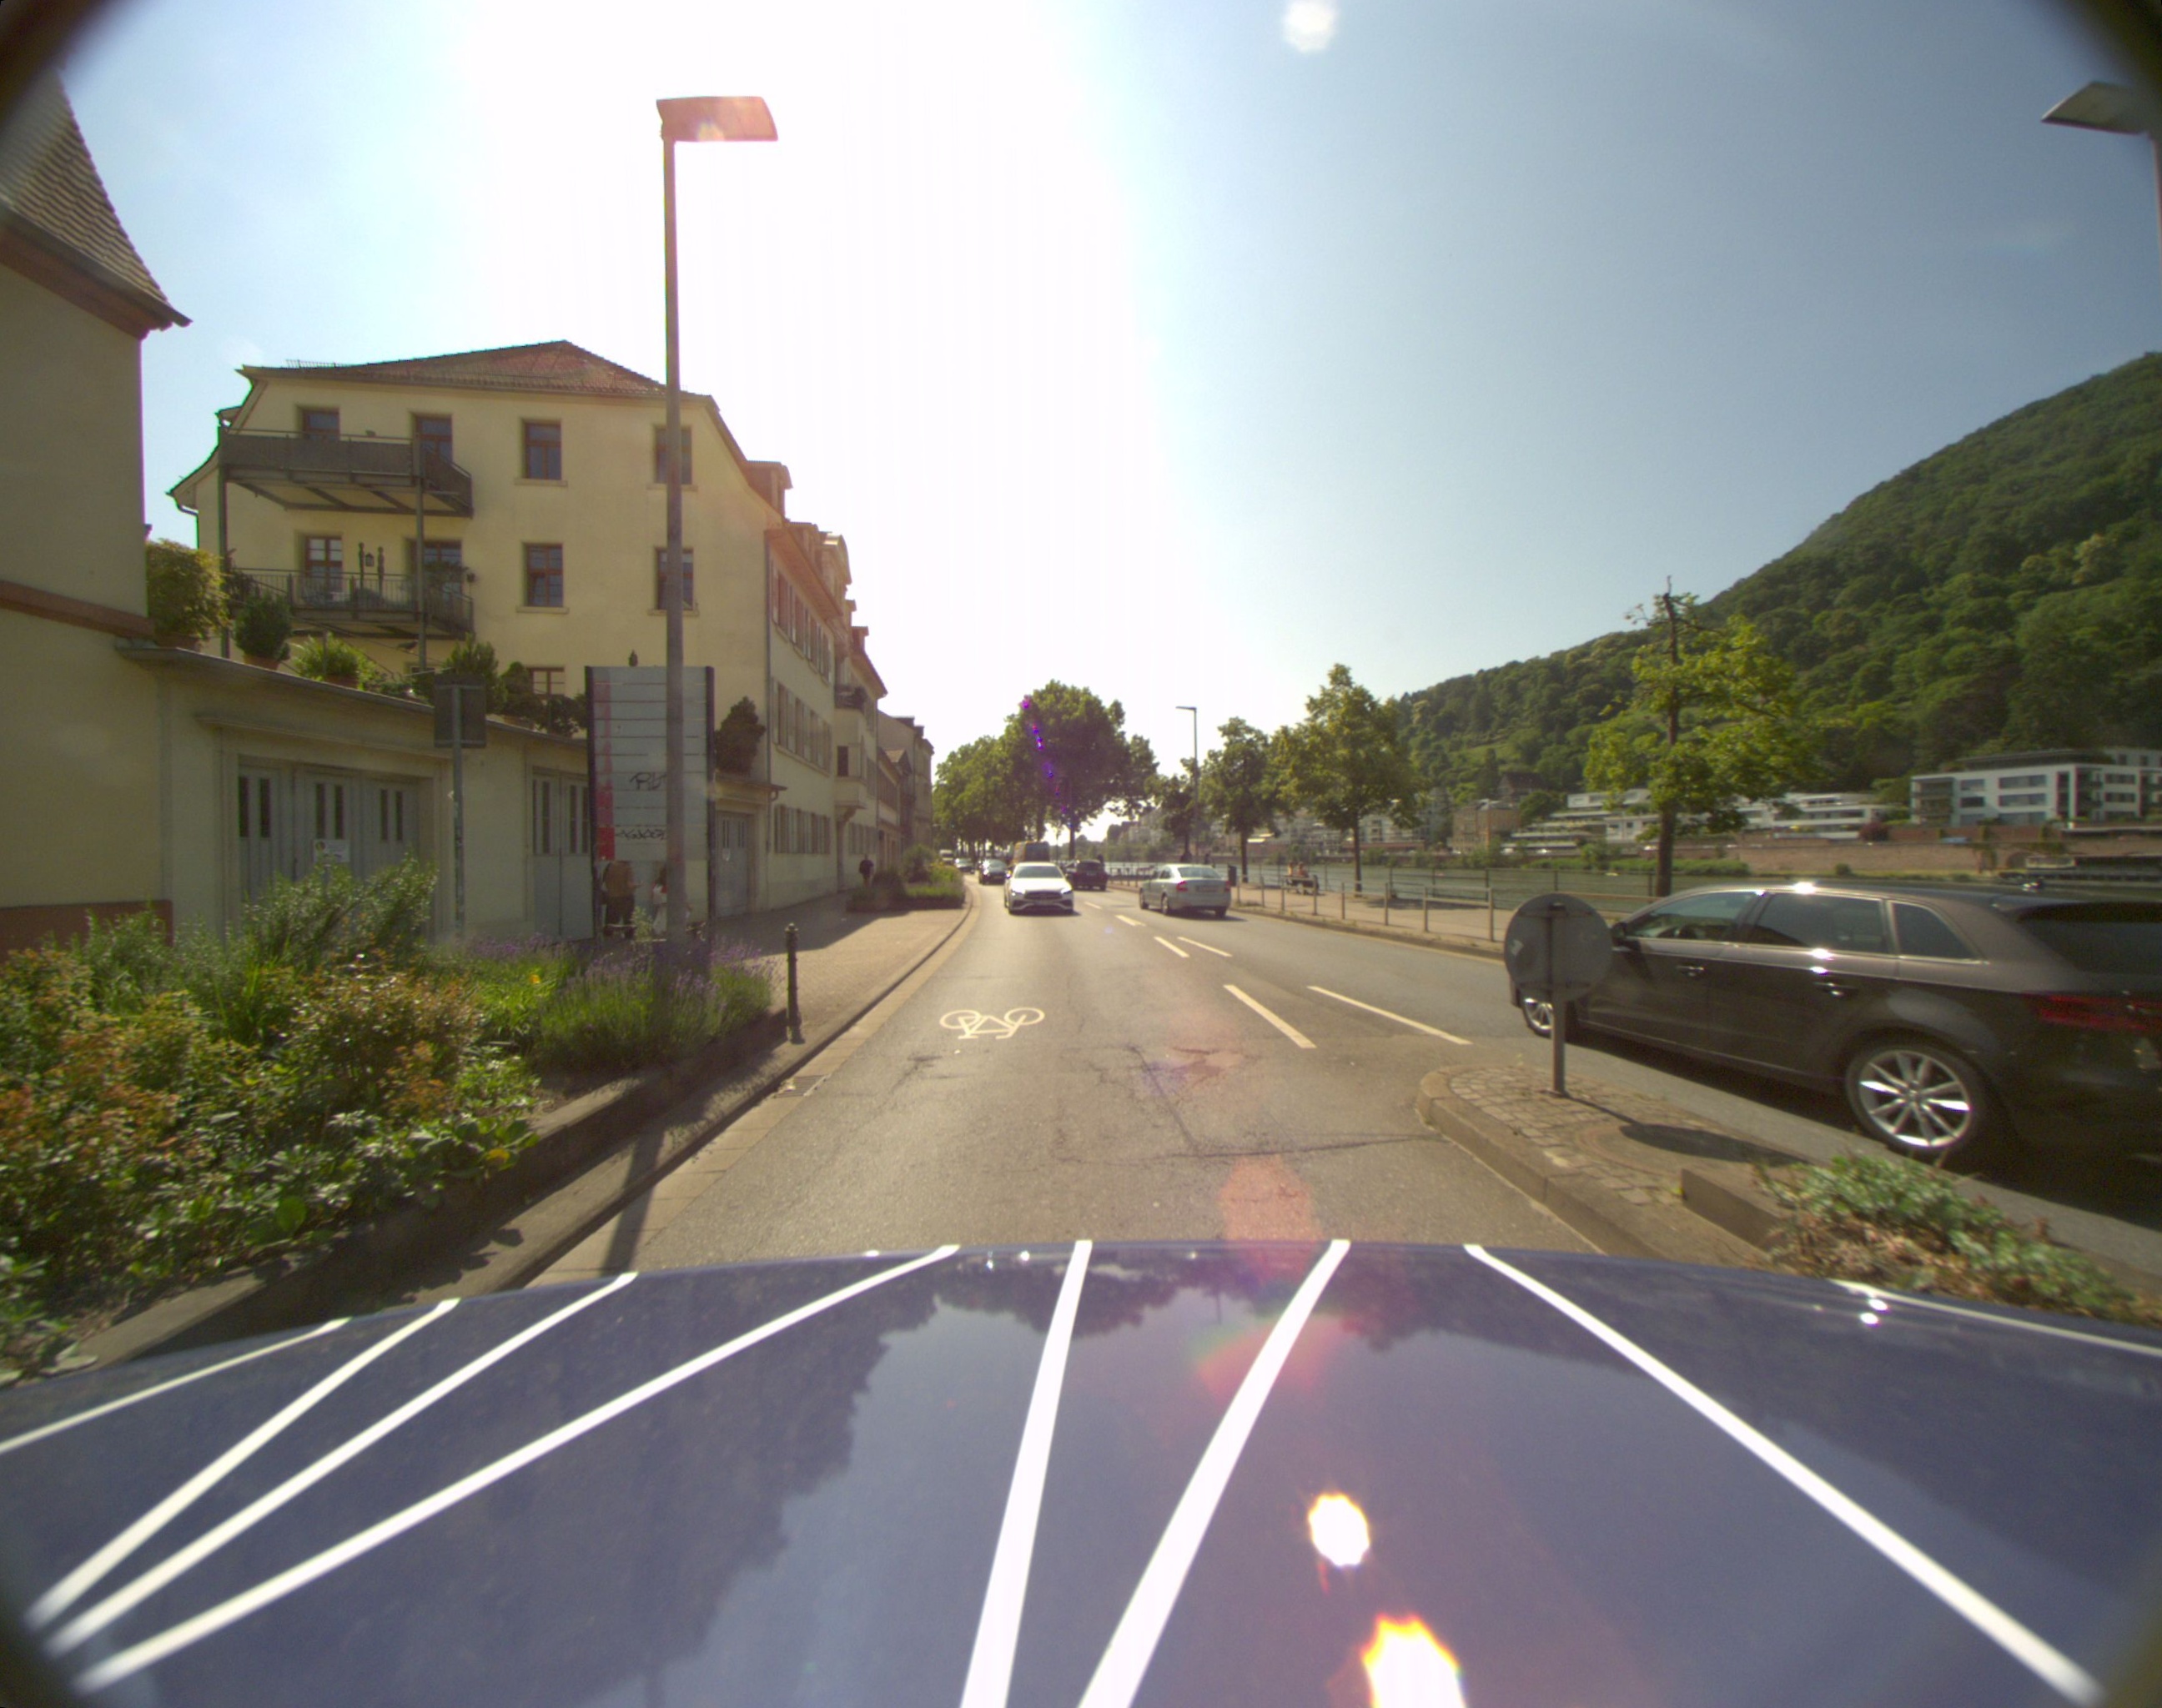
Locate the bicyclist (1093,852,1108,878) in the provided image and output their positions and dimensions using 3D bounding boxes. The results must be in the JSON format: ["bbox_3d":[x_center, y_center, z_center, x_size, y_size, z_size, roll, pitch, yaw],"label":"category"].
[{"bbox_3d":[1.239,0.682,48.976,0.743,1.658,1.088,0,0,-10],"label":"bicyclist"}]

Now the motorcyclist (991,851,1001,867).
[{"bbox_3d":[-8.632,0.516,76.969,0.882,1.574,1.023,0,1,-17],"label":"motorcyclist"}]

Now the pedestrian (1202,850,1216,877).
[{"bbox_3d":[7.816,0.584,46.363,0.695,1.606,0.663,0,1,-5],"label":"pedestrian"}]

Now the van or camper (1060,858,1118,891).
[{"bbox_3d":[0.298,0.953,37.335,2.000,1.446,4.678,1,0,-10],"label":"van or camper"}]

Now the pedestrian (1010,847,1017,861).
[{"bbox_3d":[-8.198,0.028,91.771,0.655,1.703,0.792,1,0,-20],"label":"pedestrian"}]

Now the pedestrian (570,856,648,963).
[{"bbox_3d":[-7.735,0.876,12.500,0.740,1.689,0.933,0,1,-4],"label":"pedestrian"}]

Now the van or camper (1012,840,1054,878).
[{"bbox_3d":[-3.576,0.293,55.300,2.095,2.542,7.084,-1,1,-11],"label":"van or camper"}]

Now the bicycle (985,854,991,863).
[{"bbox_3d":[-11.912,0.566,97.150,0.743,1.071,1.951,-2,0,-8],"label":"bicycle"}]

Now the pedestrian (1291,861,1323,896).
[{"bbox_3d":[8.518,0.923,28.637,0.939,1.273,0.849,0,1,-4],"label":"pedestrian"}]

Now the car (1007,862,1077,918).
[{"bbox_3d":[-1.286,1.006,22.969,1.876,1.416,4.742,1,0,-6],"label":"car"}]

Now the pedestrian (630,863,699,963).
[{"bbox_3d":[-6.864,0.950,12.558,0.764,1.586,0.695,-1,1,-4],"label":"pedestrian"}]

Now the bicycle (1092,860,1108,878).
[{"bbox_3d":[1.211,0.949,49.150,0.714,1.162,1.894,-1,0,-10],"label":"bicycle"}]

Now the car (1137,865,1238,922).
[{"bbox_3d":[2.954,1.073,22.041,1.819,1.420,4.308,1,-1,-7],"label":"car"}]

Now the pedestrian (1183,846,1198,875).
[{"bbox_3d":[7.413,0.436,51.428,0.696,1.934,0.885,0,1,-13],"label":"pedestrian"}]

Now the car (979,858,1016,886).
[{"bbox_3d":[-4.448,0.927,41.067,1.876,1.415,4.742,-1,0,-5],"label":"car"}]

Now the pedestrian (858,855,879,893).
[{"bbox_3d":[-9.791,0.913,35.056,0.764,1.703,0.695,3,1,-9],"label":"pedestrian"}]

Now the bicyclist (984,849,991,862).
[{"bbox_3d":[-11.948,0.185,97.416,0.769,1.522,1.024,-2,-1,-10],"label":"bicyclist"}]

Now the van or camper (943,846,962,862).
[{"bbox_3d":[-19.468,-0.036,115.044,2.440,2.271,6.196,0,1,-13],"label":"van or camper"}]

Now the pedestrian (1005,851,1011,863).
[{"bbox_3d":[-10.246,0.448,107.114,0.714,1.754,0.971,0,1,-13],"label":"pedestrian"}]

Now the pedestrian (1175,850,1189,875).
[{"bbox_3d":[6.918,0.553,52.116,0.758,1.673,0.658,-3,2,-8],"label":"pedestrian"}]

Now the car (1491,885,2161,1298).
[{"bbox_3d":[4.885,1.010,4.993,1.822,1.421,4.190,1,0,-5],"label":"car"}]

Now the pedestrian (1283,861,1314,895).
[{"bbox_3d":[8.459,0.937,29.548,0.939,1.273,0.849,0,1,-4],"label":"pedestrian"}]

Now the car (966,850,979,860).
[{"bbox_3d":[-17.061,0.224,119.429,1.707,1.436,4.087,-1,-1,-12],"label":"car"}]

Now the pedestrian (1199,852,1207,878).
[{"bbox_3d":[7.552,0.672,46.952,0.416,1.588,0.450,0,1,-5],"label":"pedestrian"}]
